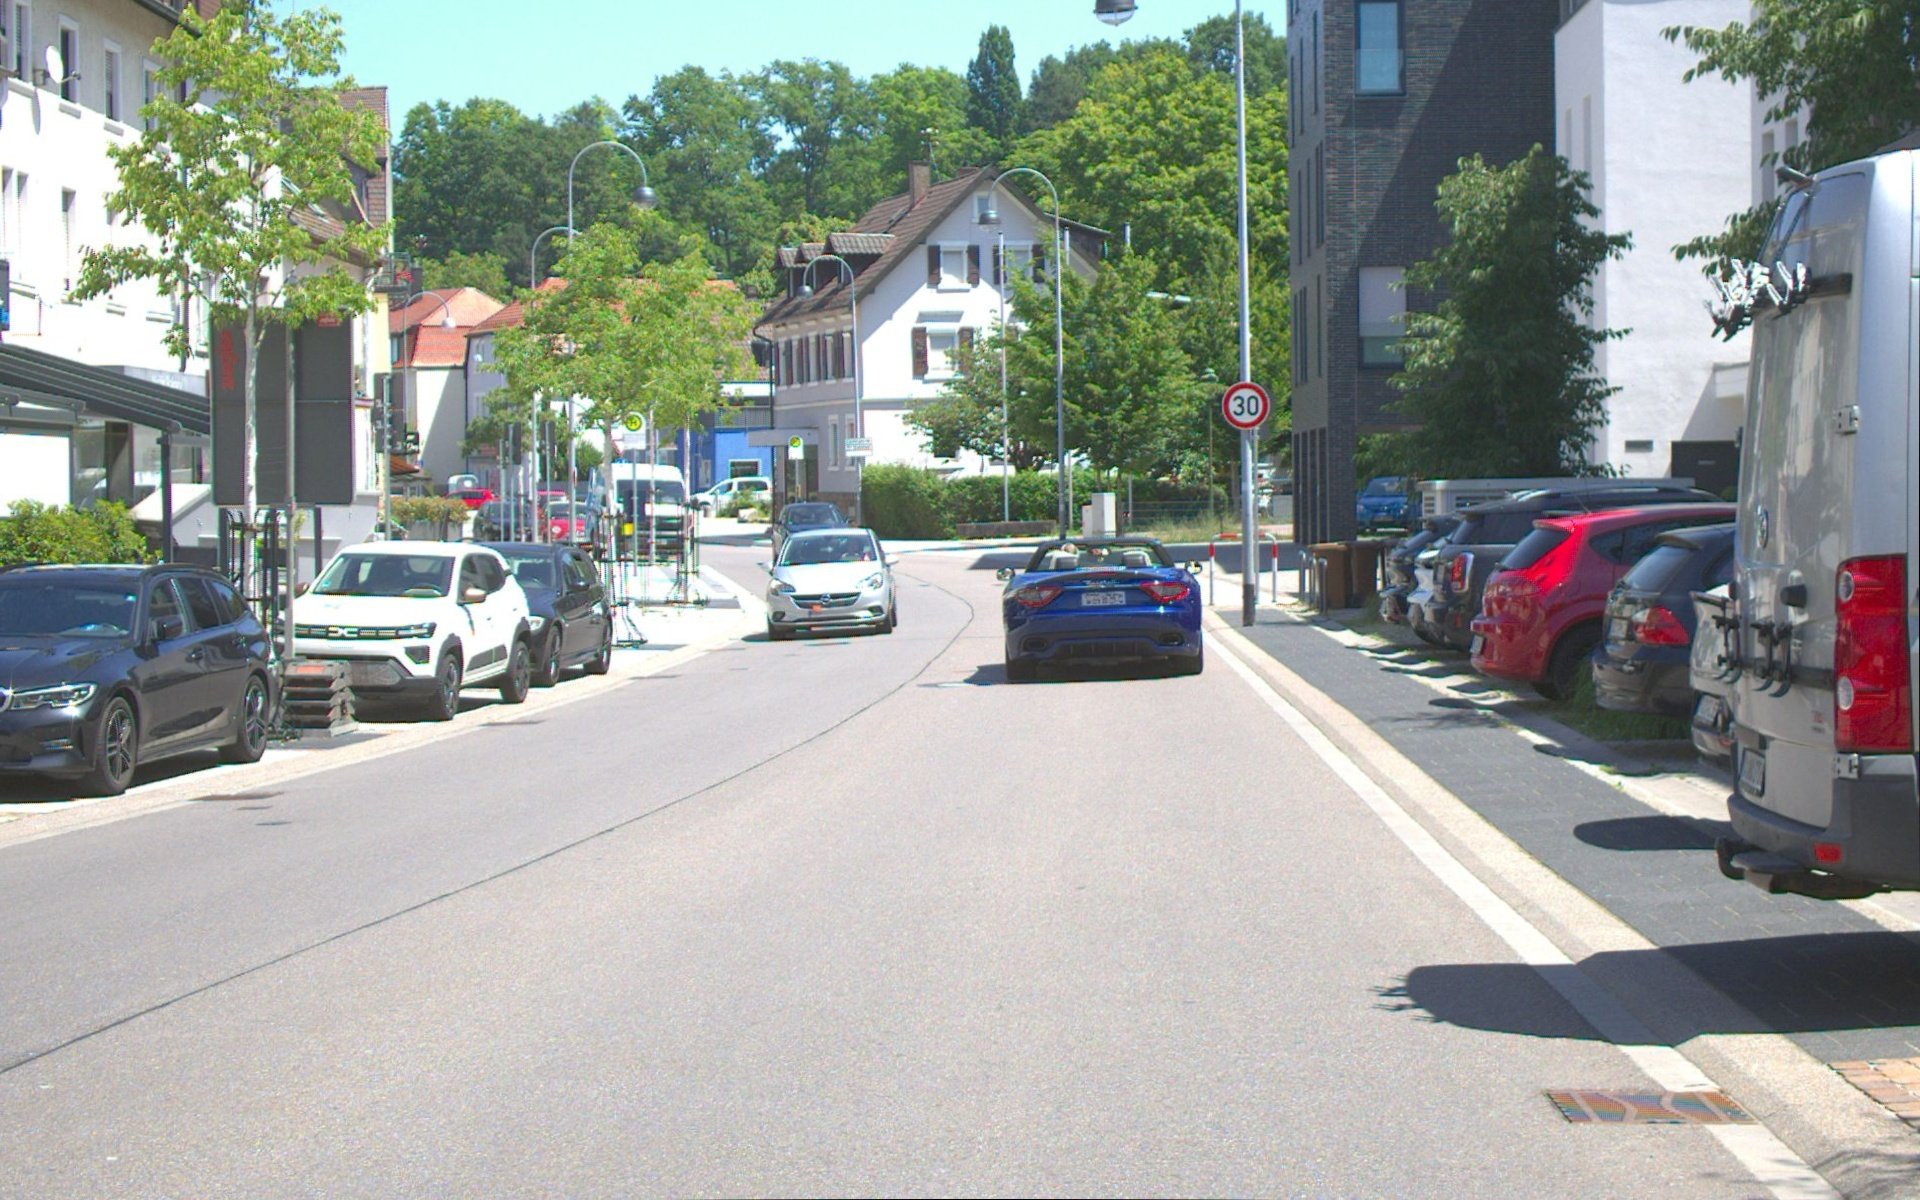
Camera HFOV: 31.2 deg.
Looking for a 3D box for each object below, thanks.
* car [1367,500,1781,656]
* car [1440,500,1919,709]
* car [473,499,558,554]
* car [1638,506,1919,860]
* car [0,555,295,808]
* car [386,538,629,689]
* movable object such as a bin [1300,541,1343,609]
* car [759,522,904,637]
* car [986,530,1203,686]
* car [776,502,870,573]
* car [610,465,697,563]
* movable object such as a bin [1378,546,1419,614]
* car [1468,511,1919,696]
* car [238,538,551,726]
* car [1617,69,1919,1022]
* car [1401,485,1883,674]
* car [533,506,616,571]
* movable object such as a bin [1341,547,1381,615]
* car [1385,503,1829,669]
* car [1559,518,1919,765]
[{"bbox_3d":[6.271,-0.235,35.447,3.980,1.524,1.740,-1,1,2],"label":"car"},{"bbox_3d":[5.688,0.004,25.583,3.970,1.404,1.857,-2,1,2],"label":"car"},{"bbox_3d":[-13.959,-2.308,107.807,1.993,1.686,4.001,-1,2,-17],"label":"car"},{"bbox_3d":[5.570,0.319,15.746,4.588,1.524,2.000,-1,1,3],"label":"car"},{"bbox_3d":[-6.066,0.457,23.177,1.834,1.424,4.782,1,2,5],"label":"car"},{"bbox_3d":[-4.694,0.100,36.178,1.670,1.438,4.009,-1,2,5],"label":"car"},{"bbox_3d":[5.086,-0.356,48.364,0.537,0.926,0.623,-2,1,4],"label":"movable object such as a bin"},{"bbox_3d":[-1.761,-0.316,48.138,1.687,1.453,4.058,-2,2,2],"label":"car"},{"bbox_3d":[1.402,0.030,33.960,1.871,1.337,4.595,-2,1,5],"label":"car"},{"bbox_3d":[-3.304,-1.489,82.148,1.660,1.601,4.001,-3,1,-10],"label":"car"},{"bbox_3d":[-7.790,-2.185,86.992,1.866,2.392,4.820,-1,2,-9],"label":"car"},{"bbox_3d":[6.155,-0.290,48.293,0.495,0.926,0.623,-2,1,4],"label":"movable object such as a bin"},{"bbox_3d":[6.270,0.008,28.184,3.980,1.427,1.763,-1,1,2],"label":"car"},{"bbox_3d":[-4.948,0.230,30.572,1.645,1.474,3.940,1,2,8],"label":"car"},{"bbox_3d":[5.234,-0.203,10.823,5.940,2.723,2.196,-1,1,3],"label":"car"},{"bbox_3d":[6.073,-0.197,30.965,3.980,1.599,1.943,-1,1,2],"label":"car"},{"bbox_3d":[-10.771,-1.703,95.822,1.993,1.732,4.001,-1,1,-11],"label":"car"},{"bbox_3d":[5.632,-0.266,48.320,0.495,0.926,0.623,-2,1,4],"label":"movable object such as a bin"},{"bbox_3d":[6.225,-0.148,33.446,3.980,1.524,1.943,-1,1,2],"label":"car"},{"bbox_3d":[5.956,0.207,20.924,4.257,1.411,1.928,-1,1,0],"label":"car"}]
